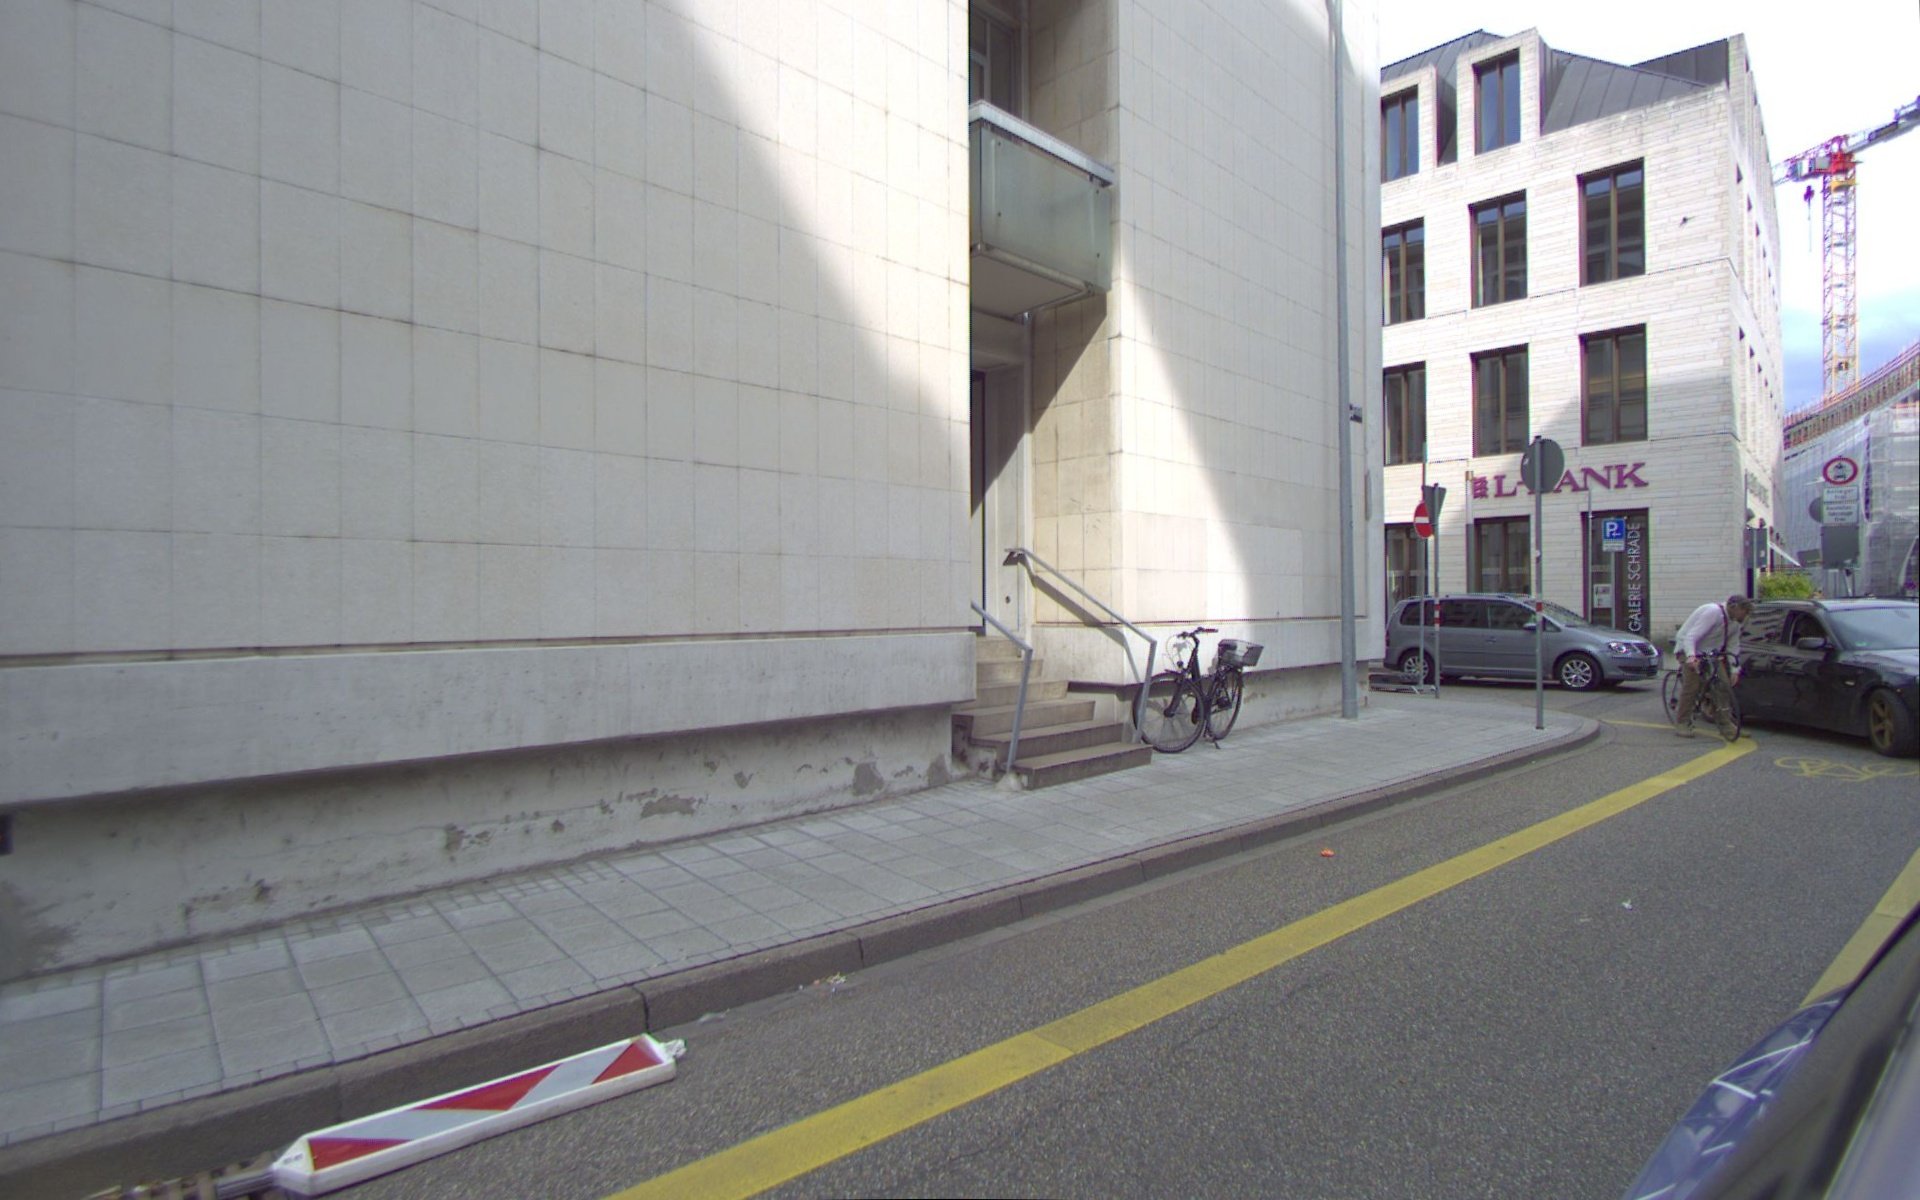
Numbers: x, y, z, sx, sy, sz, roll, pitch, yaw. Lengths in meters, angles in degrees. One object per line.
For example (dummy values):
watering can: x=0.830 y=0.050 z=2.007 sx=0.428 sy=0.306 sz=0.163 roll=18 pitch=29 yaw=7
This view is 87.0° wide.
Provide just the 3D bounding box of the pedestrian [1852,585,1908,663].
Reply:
pedestrian: x=22.551 y=0.565 z=24.803 sx=0.759 sy=1.854 sz=0.862 roll=0 pitch=0 yaw=-34

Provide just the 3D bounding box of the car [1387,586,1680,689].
car: x=10.008 y=0.569 z=17.896 sx=1.784 sy=1.610 sz=4.187 roll=-1 pitch=0 yaw=-42

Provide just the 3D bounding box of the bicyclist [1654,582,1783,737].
bicyclist: x=8.266 y=0.616 z=11.082 sx=0.881 sy=1.614 sz=0.872 roll=0 pitch=0 yaw=19

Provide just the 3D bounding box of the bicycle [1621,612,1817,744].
bicycle: x=8.306 y=0.771 z=11.265 sx=0.860 sy=1.209 sz=2.847 roll=0 pitch=0 yaw=18

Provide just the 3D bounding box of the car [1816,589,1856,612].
car: x=60.557 y=0.001 z=70.014 sx=1.578 sy=1.505 sz=3.952 roll=0 pitch=0 yaw=33

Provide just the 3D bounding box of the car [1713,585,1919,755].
car: x=9.570 y=0.606 z=10.143 sx=1.690 sy=1.509 sz=3.754 roll=-1 pitch=0 yaw=10

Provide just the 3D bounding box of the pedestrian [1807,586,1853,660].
pedestrian: x=22.162 y=0.574 z=25.777 sx=0.858 sy=1.854 sz=0.762 roll=0 pitch=0 yaw=43

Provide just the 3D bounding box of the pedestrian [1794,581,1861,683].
pedestrian: x=16.235 y=0.577 z=18.963 sx=0.767 sy=1.854 sz=0.853 roll=0 pitch=0 yaw=29

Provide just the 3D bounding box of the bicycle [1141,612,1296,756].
bicycle: x=2.442 y=0.723 z=9.434 sx=0.588 sy=1.182 sz=1.786 roll=0 pitch=0 yaw=44
